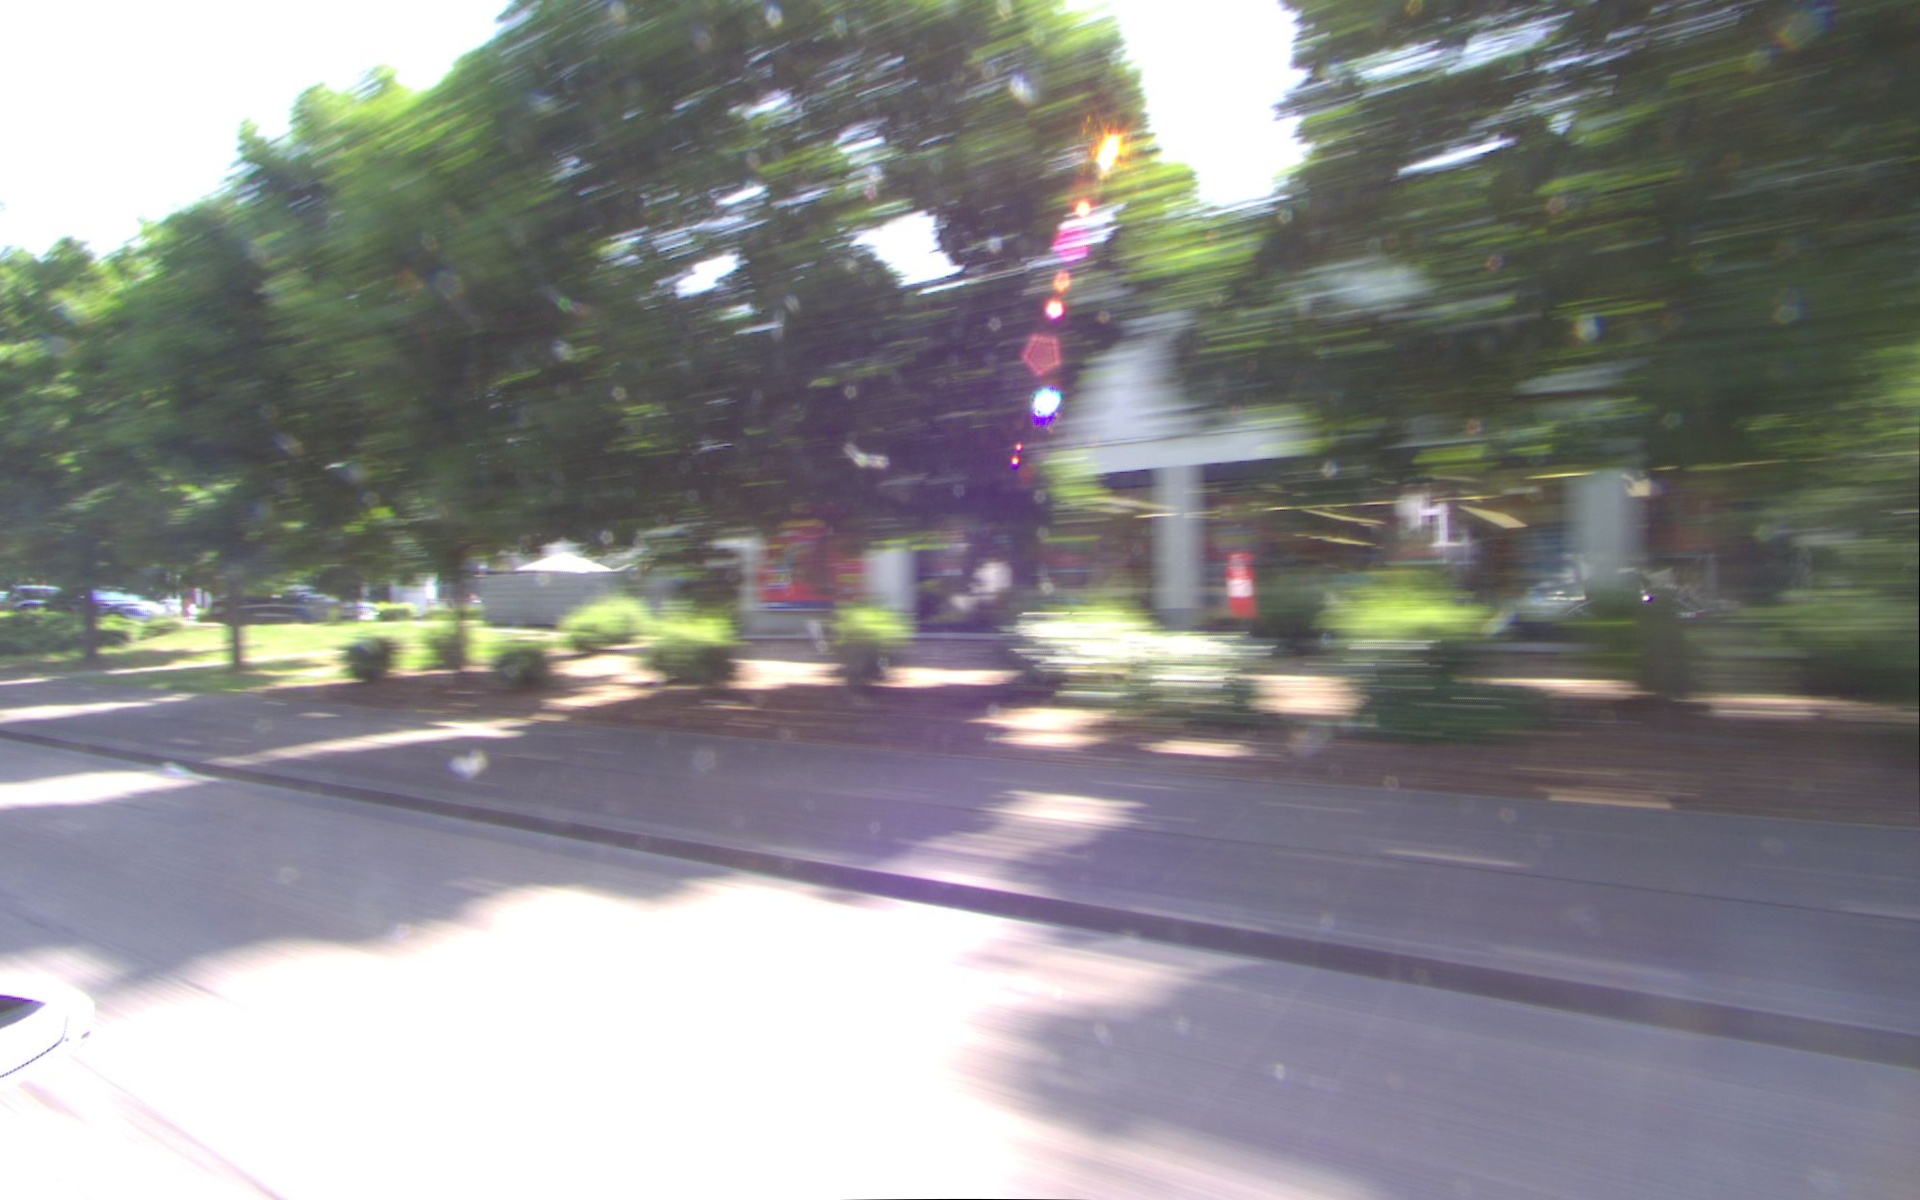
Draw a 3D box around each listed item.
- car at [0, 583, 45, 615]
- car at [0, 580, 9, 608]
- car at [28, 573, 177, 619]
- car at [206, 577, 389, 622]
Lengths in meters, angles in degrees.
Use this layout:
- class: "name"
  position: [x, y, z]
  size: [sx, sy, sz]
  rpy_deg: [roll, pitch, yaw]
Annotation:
- class: "car"
  position: [-39.264, -0.020, 41.476]
  size: [3.721, 1.269, 1.611]
  rpy_deg: [-1, -1, 41]
- class: "car"
  position: [-46.532, -0.299, 47.571]
  size: [3.822, 1.269, 1.611]
  rpy_deg: [-1, -1, 41]
- class: "car"
  position: [-29.366, -0.086, 34.261]
  size: [5.512, 1.470, 1.905]
  rpy_deg: [-1, -1, 27]
- class: "car"
  position: [-21.398, -0.033, 32.472]
  size: [4.623, 1.370, 1.952]
  rpy_deg: [0, 1, 1]
